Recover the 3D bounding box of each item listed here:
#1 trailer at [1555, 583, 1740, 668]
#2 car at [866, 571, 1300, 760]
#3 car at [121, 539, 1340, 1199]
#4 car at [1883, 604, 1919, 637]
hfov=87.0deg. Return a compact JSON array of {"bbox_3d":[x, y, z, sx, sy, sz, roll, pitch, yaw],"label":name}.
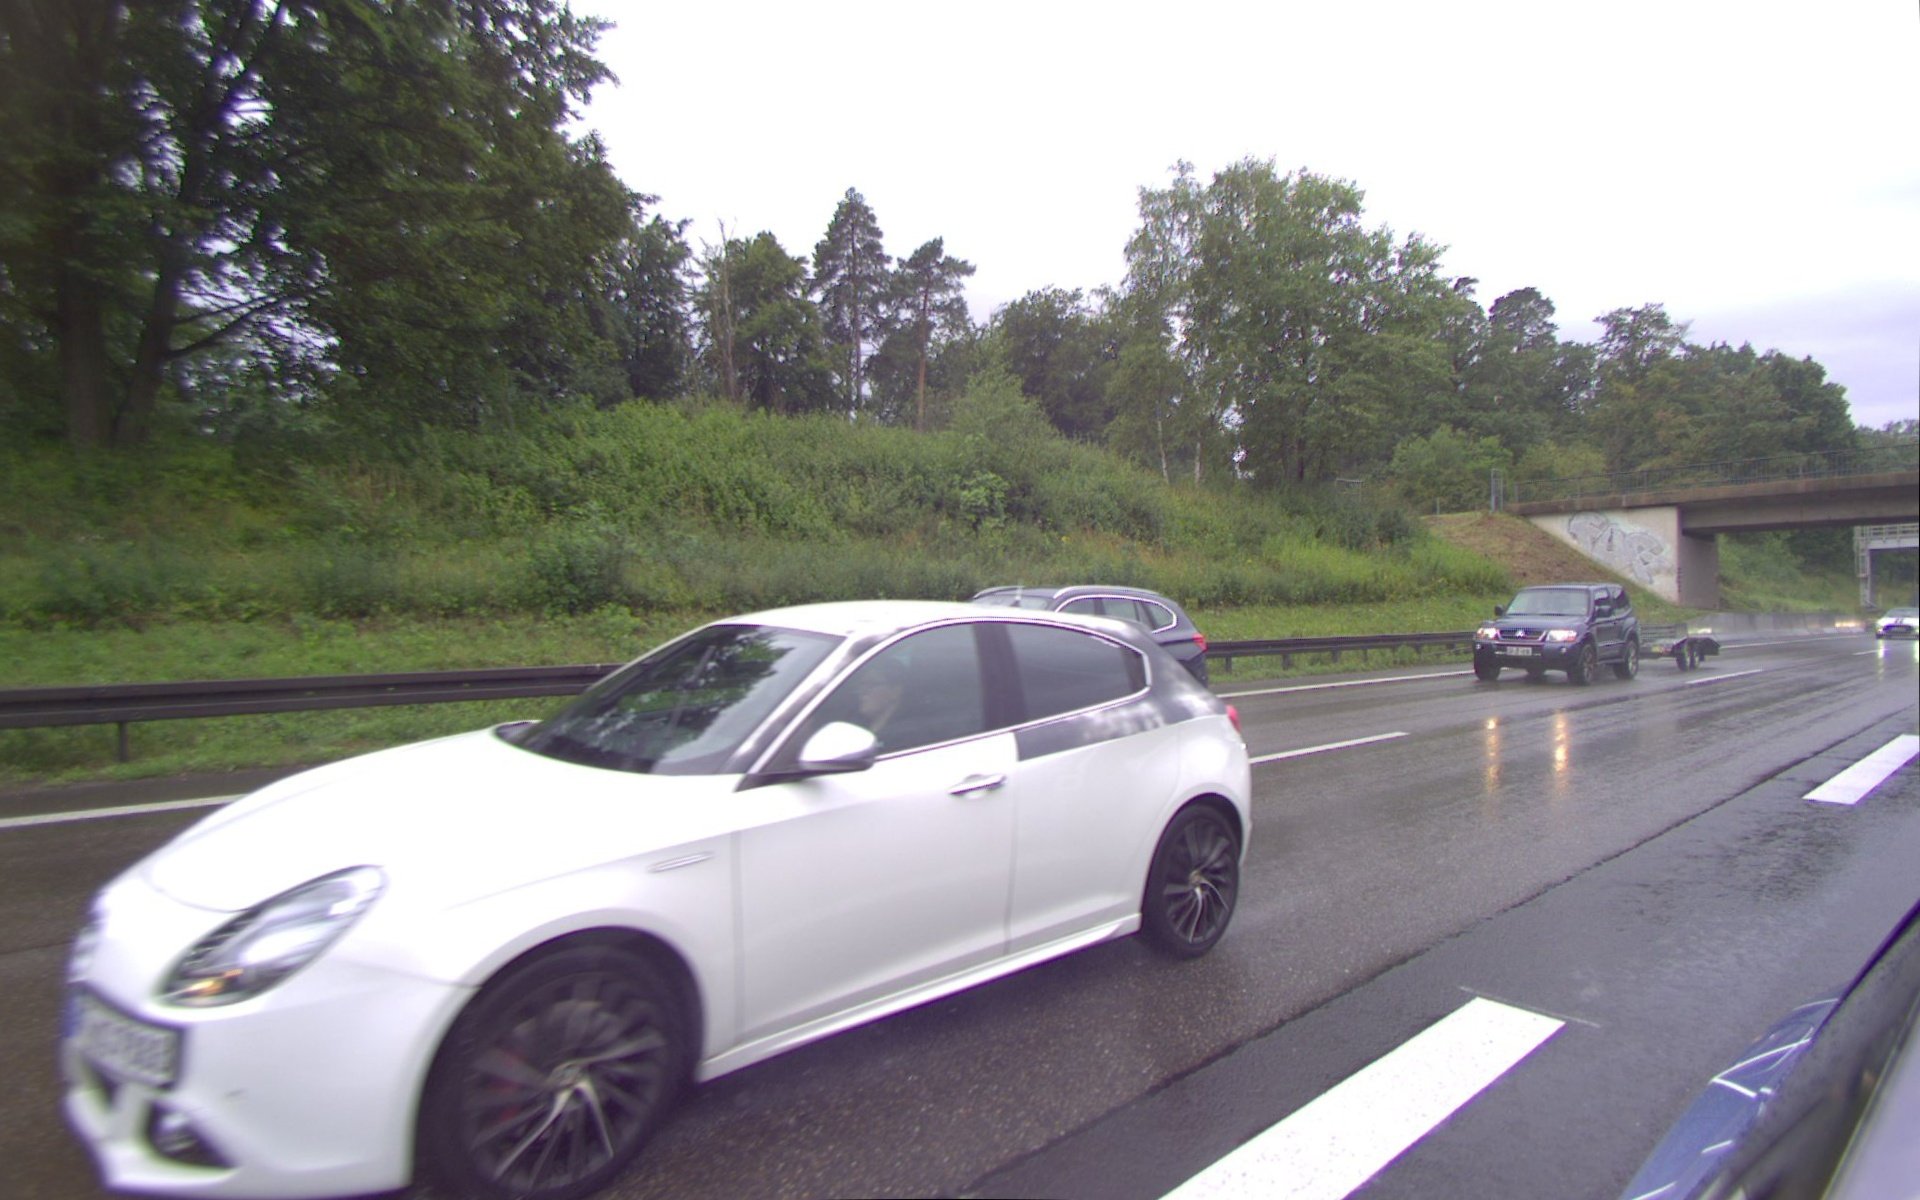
[{"bbox_3d":[15.768,0.521,23.122,4.992,1.736,2.248,0,0,-40],"label":"trailer"},{"bbox_3d":[1.482,0.554,10.864,4.682,1.603,1.994,0,0,-40],"label":"car"},{"bbox_3d":[-0.490,0.604,4.051,4.403,1.443,1.893,0,0,-40],"label":"car"},{"bbox_3d":[43.554,0.917,46.020,4.153,1.425,1.794,0,0,-40],"label":"car"}]
